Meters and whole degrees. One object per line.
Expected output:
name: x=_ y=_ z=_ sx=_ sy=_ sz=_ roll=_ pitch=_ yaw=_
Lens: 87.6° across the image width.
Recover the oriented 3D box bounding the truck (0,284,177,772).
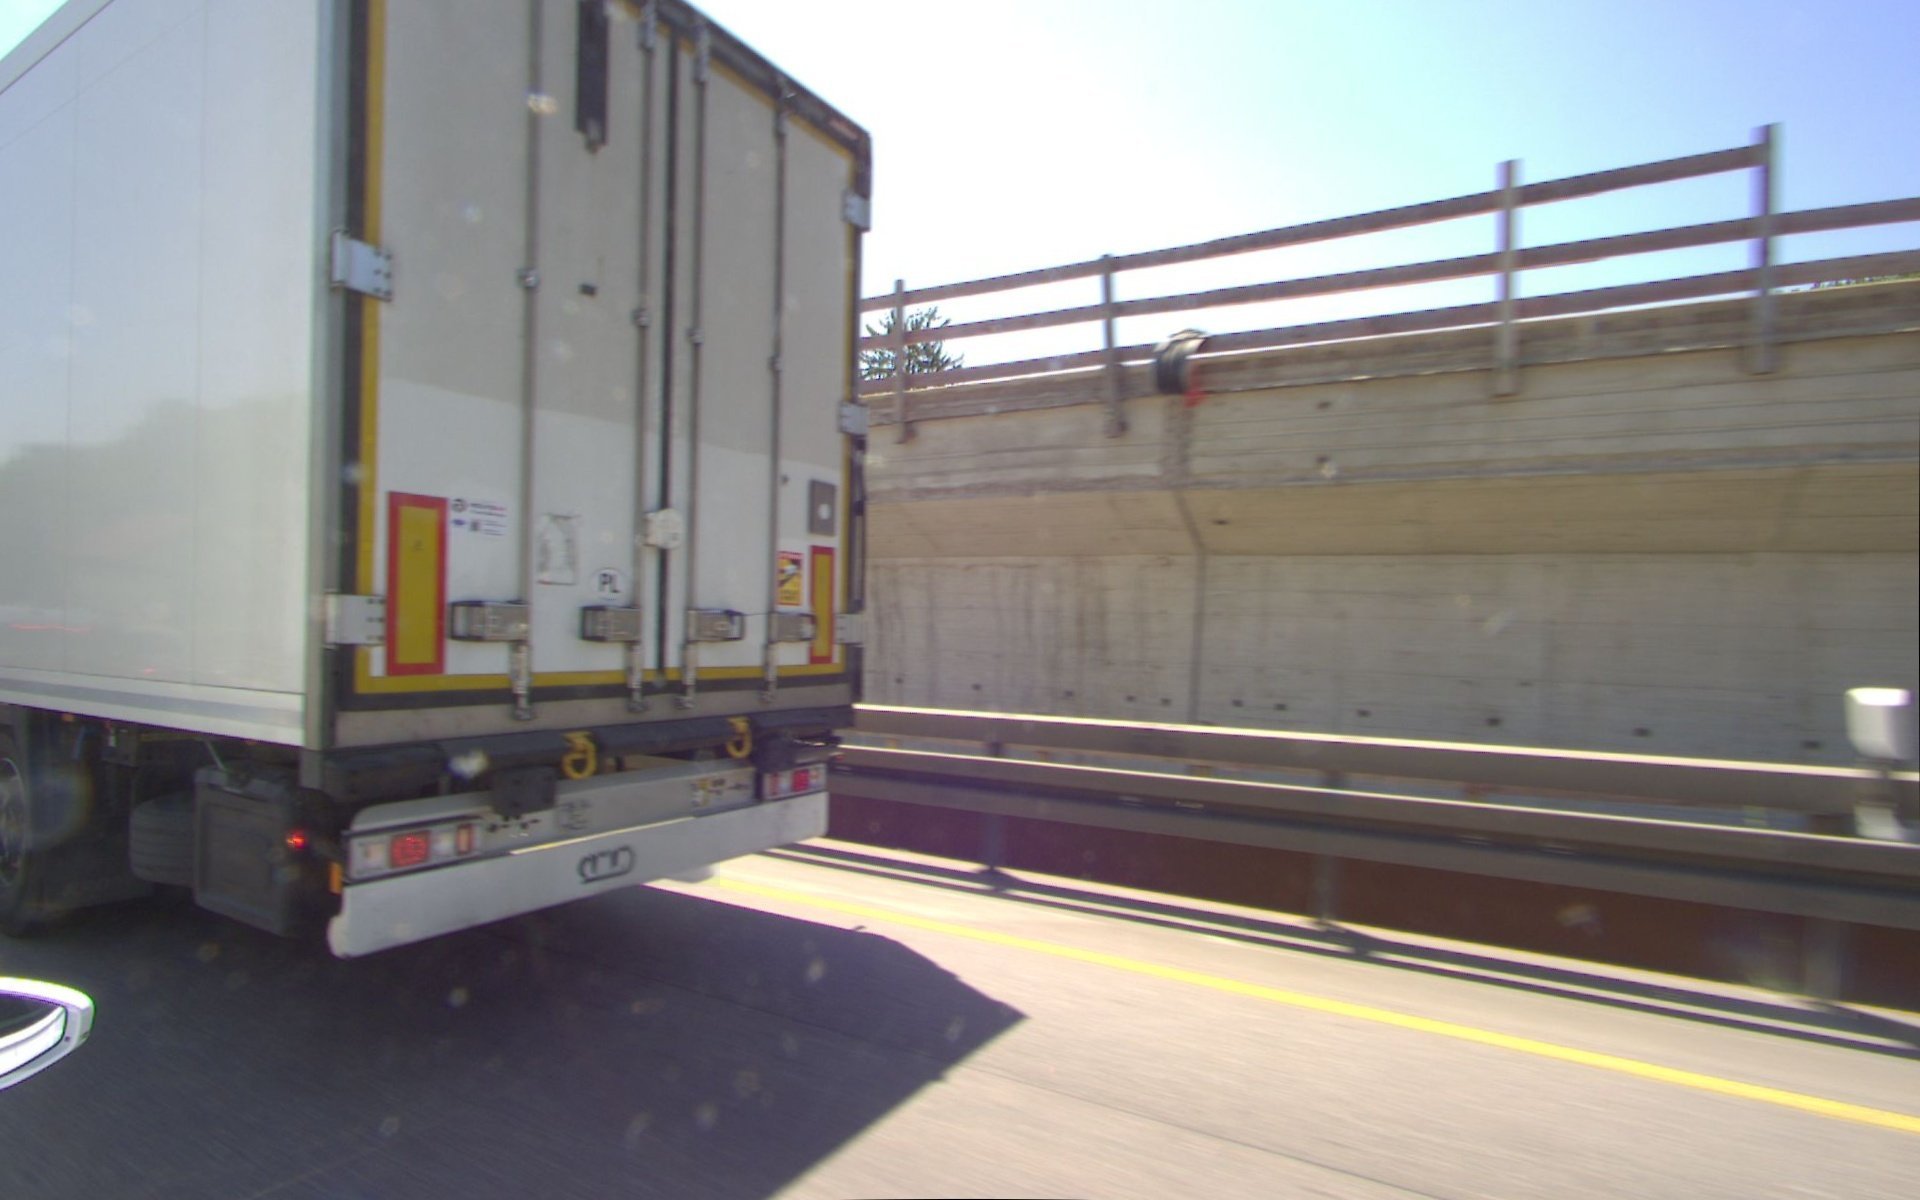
truck: x=-11.469 y=-0.555 z=10.511 sx=8.120 sy=4.076 sz=2.509 roll=-1 pitch=-2 yaw=33

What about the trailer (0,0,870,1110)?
trailer: x=-5.915 y=-0.600 z=6.901 sx=11.384 sy=4.179 sz=2.527 roll=-1 pitch=-2 yaw=33
